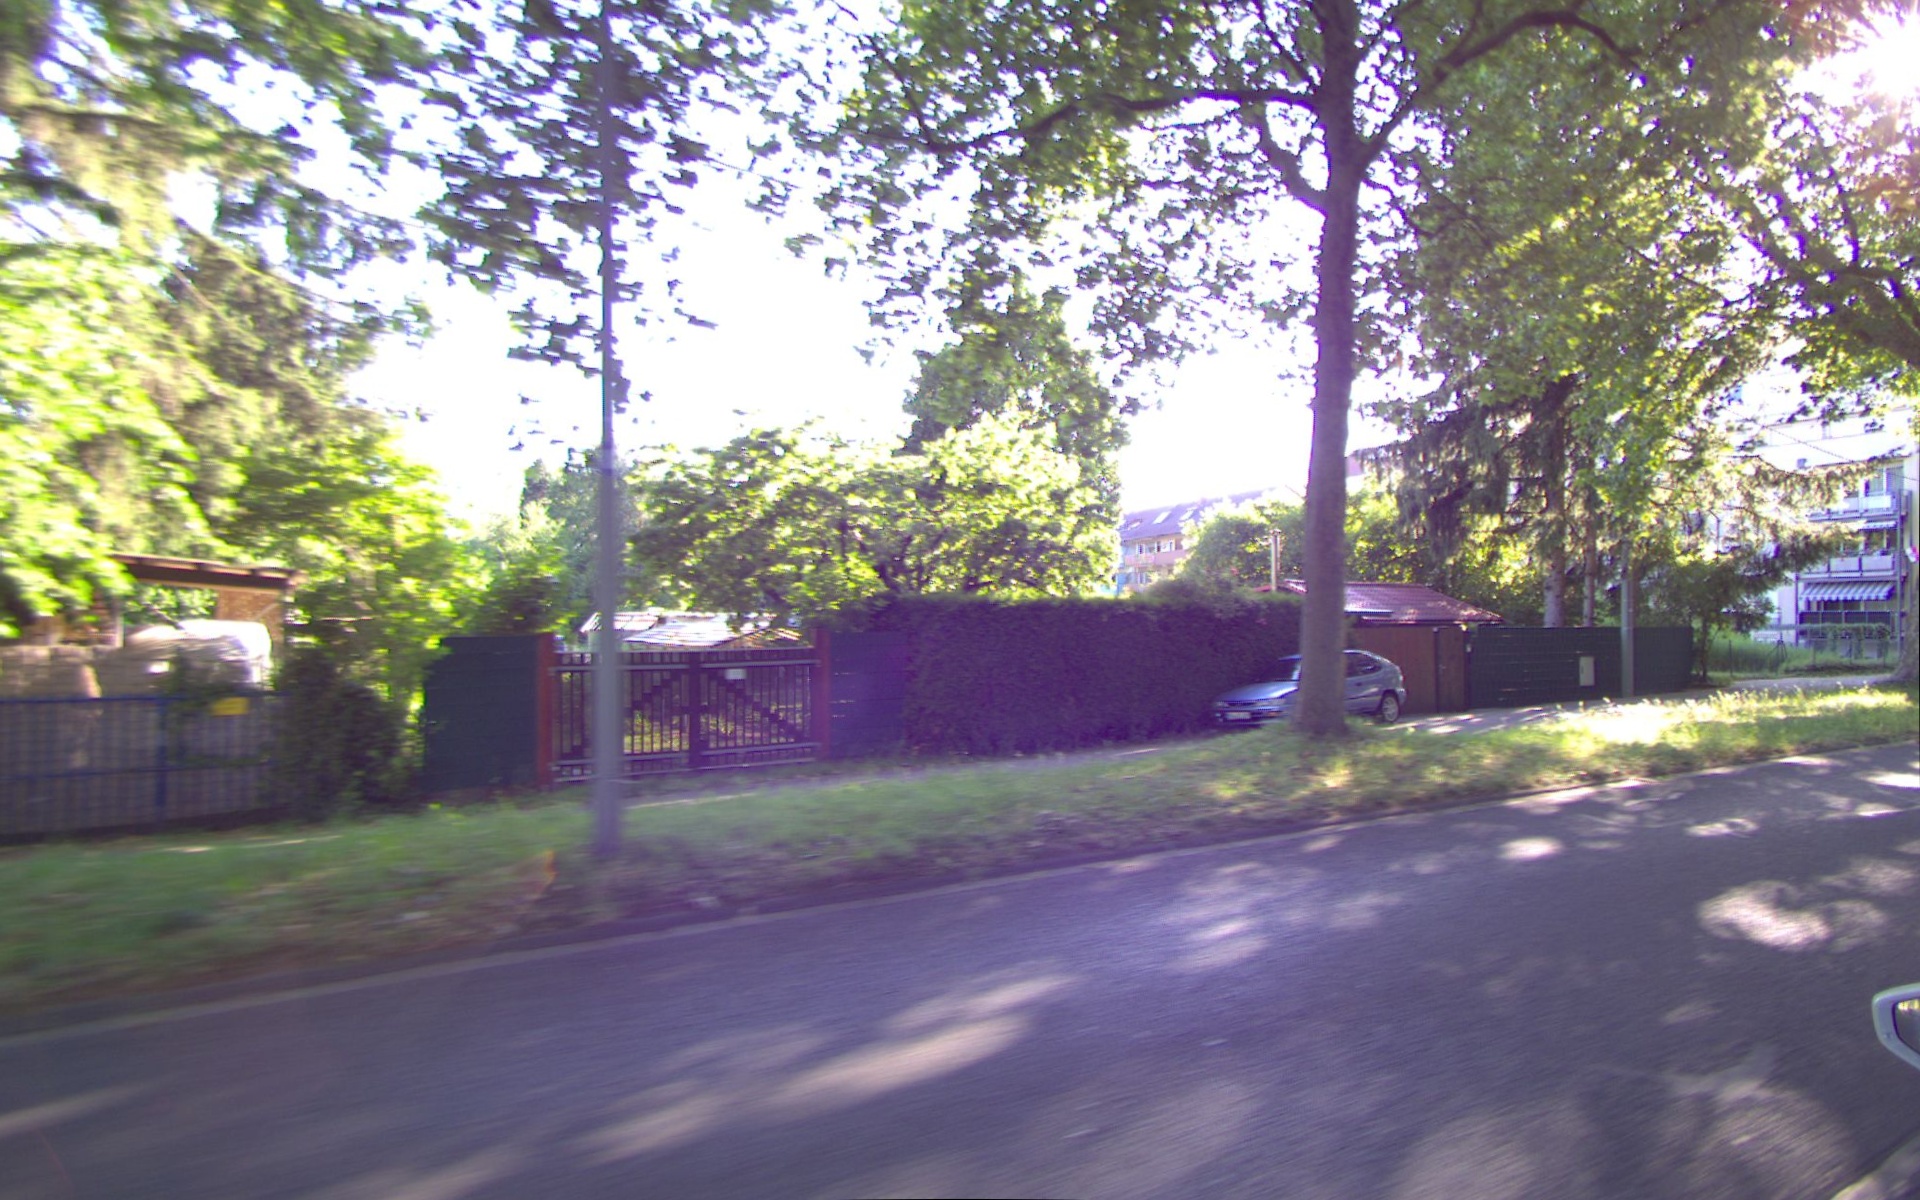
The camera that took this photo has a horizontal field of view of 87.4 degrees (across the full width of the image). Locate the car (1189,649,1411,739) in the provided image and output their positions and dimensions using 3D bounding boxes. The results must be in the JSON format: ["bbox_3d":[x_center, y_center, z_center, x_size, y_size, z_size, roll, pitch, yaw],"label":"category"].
[{"bbox_3d":[6.176,1.609,18.120,3.958,1.321,1.742,0,-1,-34],"label":"car"}]
